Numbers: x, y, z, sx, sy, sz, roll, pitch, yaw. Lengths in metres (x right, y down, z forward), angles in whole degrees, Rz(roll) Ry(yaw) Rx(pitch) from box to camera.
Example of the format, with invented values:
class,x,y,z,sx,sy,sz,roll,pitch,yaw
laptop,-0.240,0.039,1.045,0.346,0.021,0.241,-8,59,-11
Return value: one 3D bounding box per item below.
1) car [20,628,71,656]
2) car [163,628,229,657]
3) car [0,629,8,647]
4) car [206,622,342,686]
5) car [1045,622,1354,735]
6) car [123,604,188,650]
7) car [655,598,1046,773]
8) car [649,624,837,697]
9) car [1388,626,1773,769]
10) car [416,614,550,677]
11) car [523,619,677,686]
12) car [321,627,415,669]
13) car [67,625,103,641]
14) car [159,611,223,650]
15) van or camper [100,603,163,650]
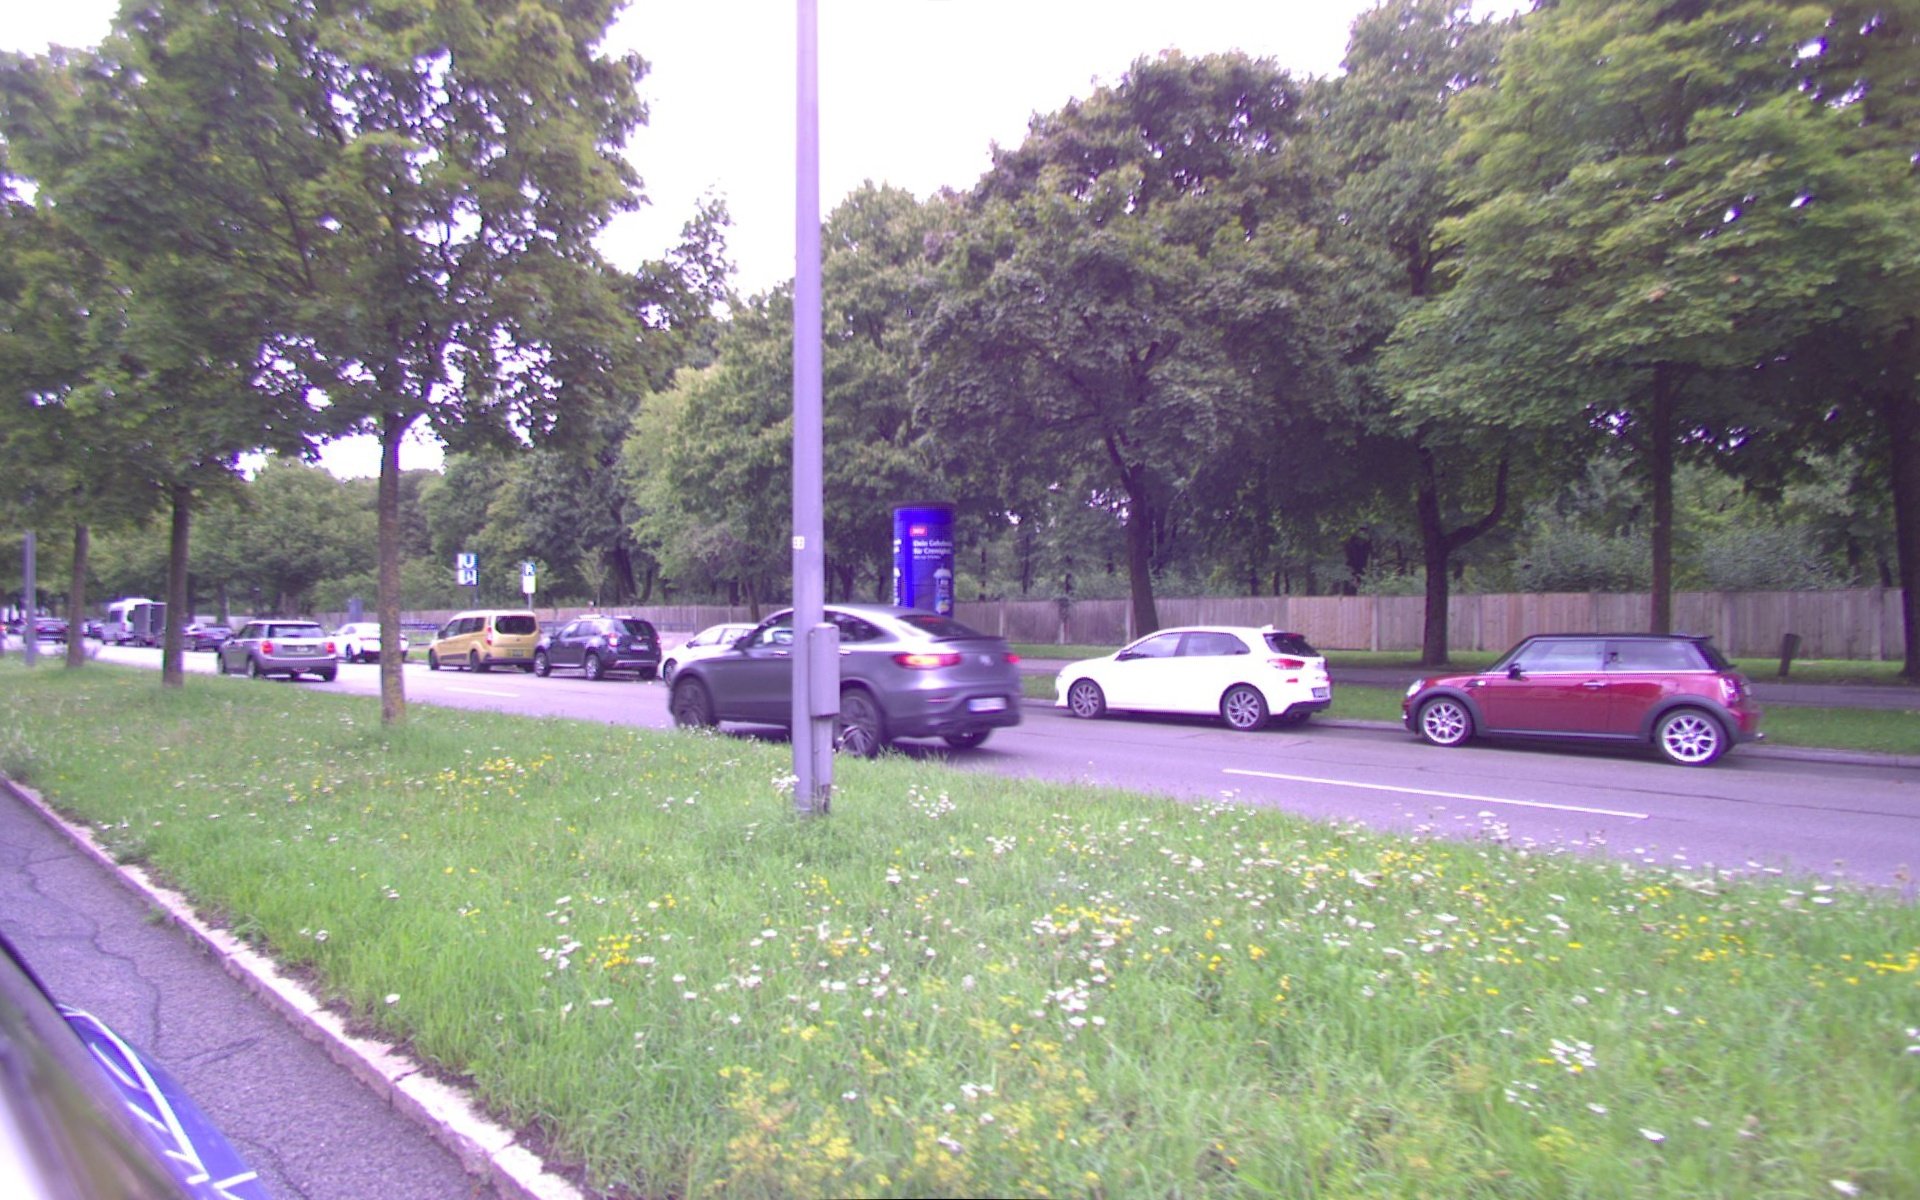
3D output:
class,x,y,z,sx,sy,sz,roll,pitch,yaw
car,-58.631,2.670,64.860,4.497,1.682,1.842,-1,-3,40
car,-38.540,2.118,51.048,4.037,1.420,1.696,-1,-2,39
car,-79.762,3.078,83.103,4.497,1.467,1.842,-1,-3,40
car,-16.222,1.252,23.867,3.765,1.393,1.700,-1,-4,41
car,3.550,1.113,15.445,4.258,1.488,1.802,-1,-4,42
car,-47.418,1.578,59.635,4.494,2.611,1.974,-1,-3,39
car,-1.390,0.838,11.402,4.499,1.601,1.802,-2,-1,41
car,-4.913,1.298,22.656,4.296,1.481,1.804,-1,-2,39
car,7.263,1.051,12.050,3.685,1.433,1.632,-1,-4,42
car,-14.463,1.347,30.614,4.528,1.784,1.839,-1,-2,39
car,-9.542,1.333,26.723,4.037,1.628,1.982,-1,-2,39
car,-22.029,1.752,37.611,4.037,1.454,1.696,-1,-2,39
car,-78.351,2.961,90.568,4.037,1.420,1.696,-1,-2,39
car,-41.666,1.620,54.800,3.997,2.029,1.973,-1,-1,40
van or camper,-51.429,1.645,62.810,4.926,2.829,1.974,-1,-3,39
